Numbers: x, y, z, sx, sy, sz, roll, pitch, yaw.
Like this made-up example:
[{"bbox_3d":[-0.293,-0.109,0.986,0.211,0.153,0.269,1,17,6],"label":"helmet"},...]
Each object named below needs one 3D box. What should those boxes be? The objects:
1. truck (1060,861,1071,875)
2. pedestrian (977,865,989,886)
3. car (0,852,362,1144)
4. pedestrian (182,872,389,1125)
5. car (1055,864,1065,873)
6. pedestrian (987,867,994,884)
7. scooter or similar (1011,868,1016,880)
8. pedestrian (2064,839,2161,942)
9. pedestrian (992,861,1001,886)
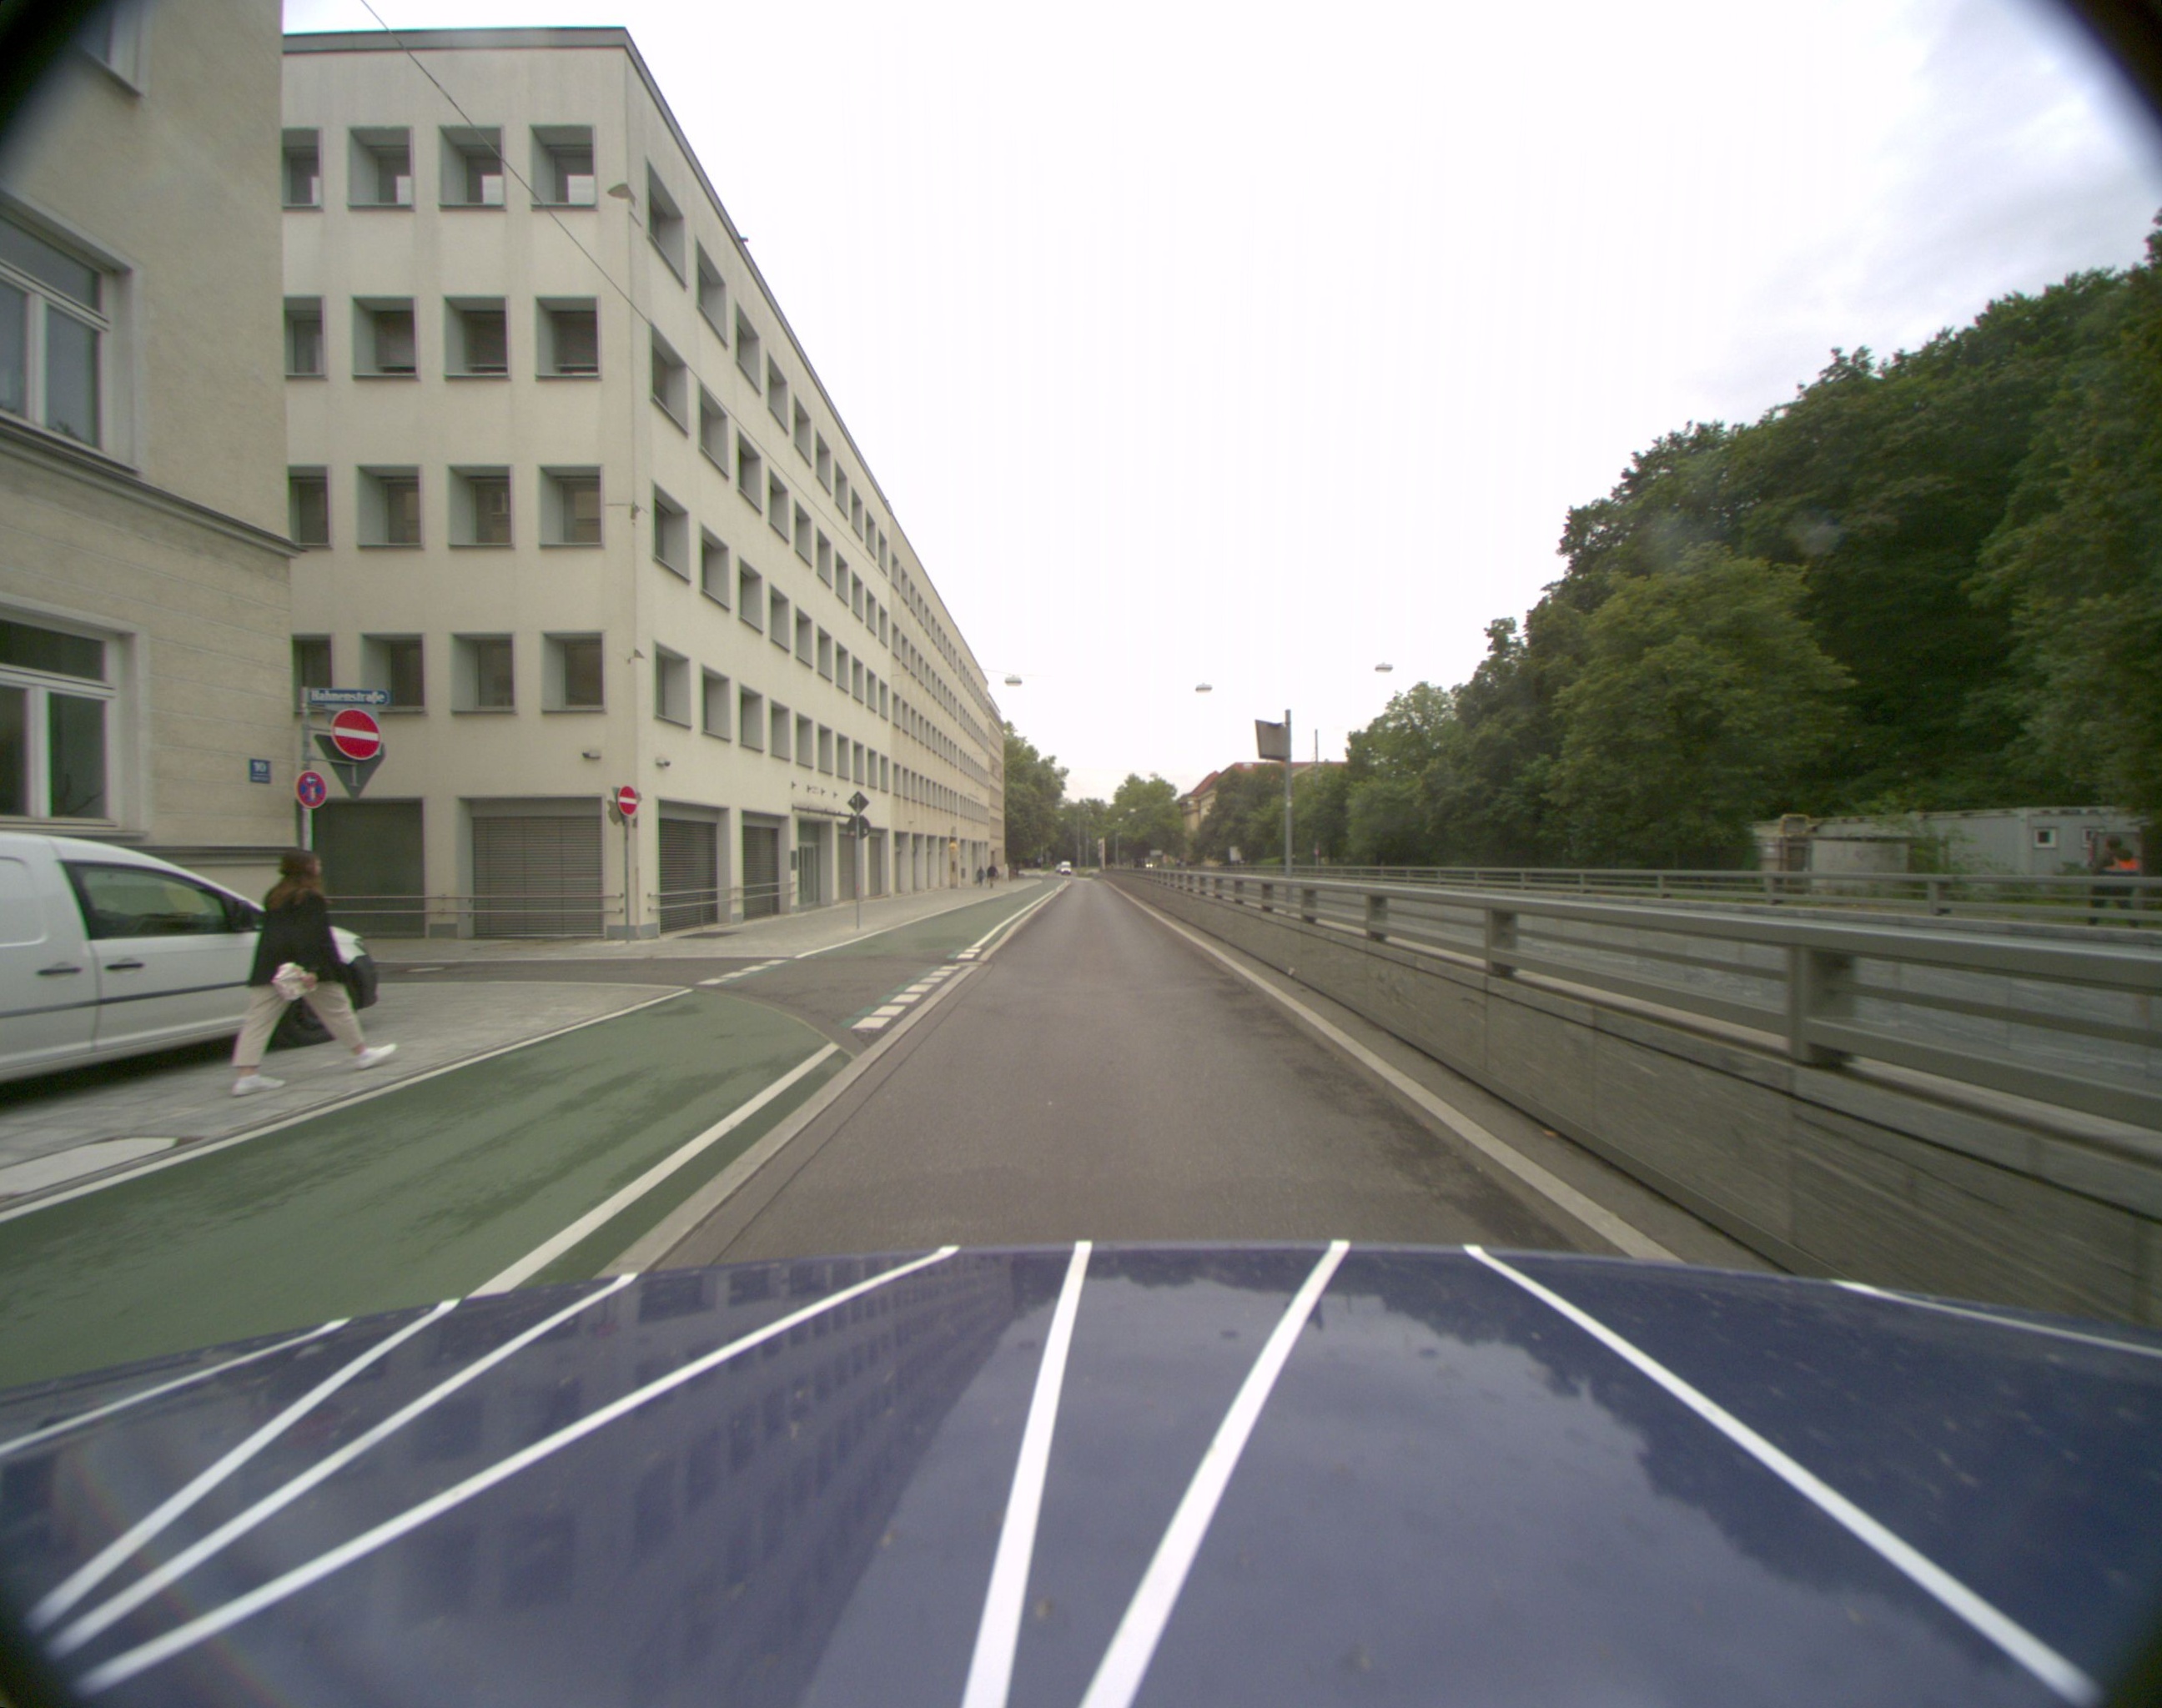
[{"bbox_3d":[-3.051,2.854,152.536,2.058,2.625,4.412,-1,0,-1],"label":"truck"},{"bbox_3d":[-7.523,1.662,58.454,0.754,1.610,0.704,3,0,1],"label":"pedestrian"},{"bbox_3d":[-7.323,0.857,4.576,1.738,1.739,4.435,0,0,1],"label":"car"},{"bbox_3d":[-5.504,0.950,5.304,0.666,1.626,0.737,0,0,0],"label":"pedestrian"},{"bbox_3d":[-4.614,3.241,168.633,1.999,1.738,4.000,-1,0,-1],"label":"car"},{"bbox_3d":[-6.823,1.645,57.262,0.368,1.239,0.470,3,0,1],"label":"pedestrian"},{"bbox_3d":[-7.569,2.260,85.491,0.387,1.265,1.119,1,1,0],"label":"scooter or similar"},{"bbox_3d":[17.037,0.592,12.550,0.665,1.631,0.698,-1,0,1],"label":"pedestrian"},{"bbox_3d":[-6.354,1.452,56.965,0.514,1.825,0.602,3,0,1],"label":"pedestrian"}]
